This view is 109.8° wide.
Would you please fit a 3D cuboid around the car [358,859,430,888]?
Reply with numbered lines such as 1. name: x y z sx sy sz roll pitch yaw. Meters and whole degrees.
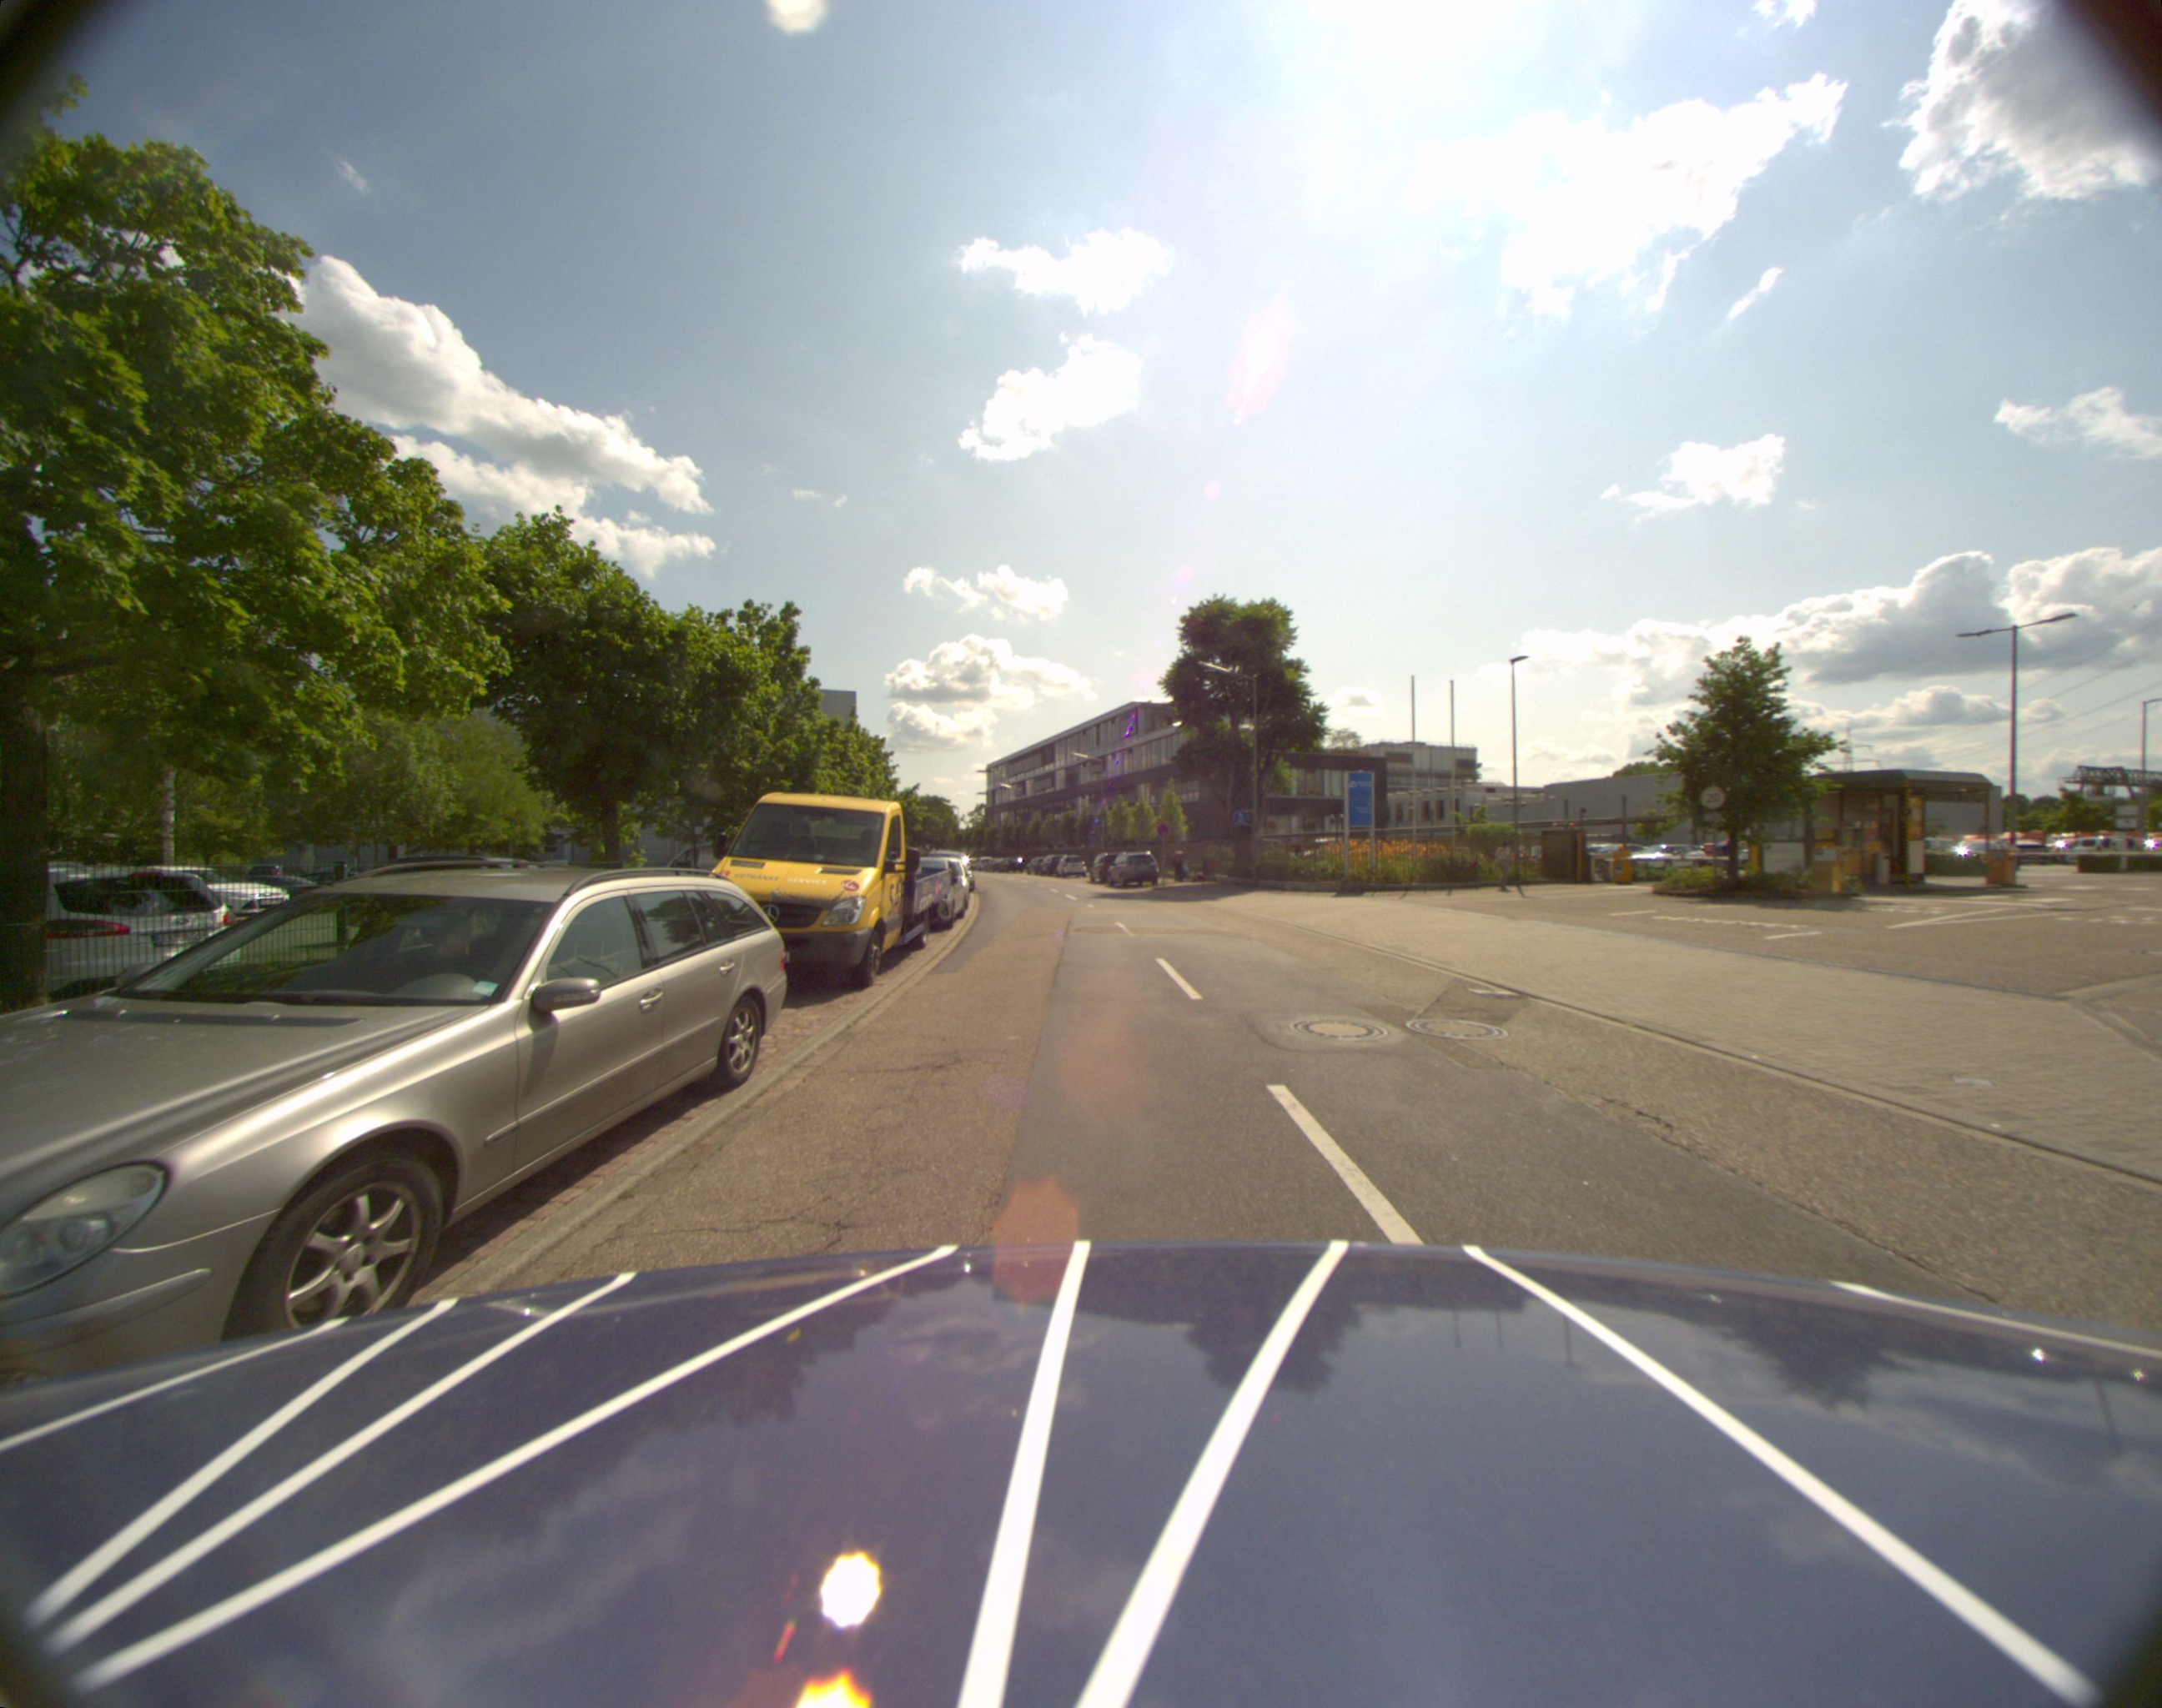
1. car: -41.738 1.140 46.250 1.959 1.539 3.991 -3 2 -23

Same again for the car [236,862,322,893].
1. car: -47.169 1.317 44.797 1.959 1.539 3.991 -3 2 -23

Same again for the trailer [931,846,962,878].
1. trailer: -9.228 0.517 51.984 1.752 2.055 3.942 2 0 -14

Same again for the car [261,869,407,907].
1. car: -31.026 1.401 31.678 4.000 1.366 1.855 -1 1 -8

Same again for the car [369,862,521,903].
1. car: -23.862 1.036 28.660 4.000 1.414 1.802 -1 0 -9

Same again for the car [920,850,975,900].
1. car: -5.095 0.723 29.487 1.856 1.755 5.073 1 0 -8

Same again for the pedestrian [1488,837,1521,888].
1. pedestrian: 14.521 0.284 26.063 0.550 1.683 0.732 -2 4 -22

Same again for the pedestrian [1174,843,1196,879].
1. pedestrian: 5.078 0.341 37.178 0.845 1.682 0.830 -3 1 -4

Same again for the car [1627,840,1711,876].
1. car: 31.521 0.176 40.710 4.077 1.716 1.756 -3 1 -23

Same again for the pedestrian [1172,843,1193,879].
1. pedestrian: 5.103 0.326 38.310 0.830 1.751 0.845 -3 1 -4

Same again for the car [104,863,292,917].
1. car: -30.661 1.220 26.497 4.000 1.656 1.855 -1 1 -8

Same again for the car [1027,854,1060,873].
1. car: -3.146 0.750 63.368 1.740 1.437 3.924 -3 1 -18

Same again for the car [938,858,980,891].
1. car: -5.933 0.944 36.607 1.848 1.452 4.863 1 0 -10

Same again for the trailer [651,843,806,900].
1. trailer: -13.606 0.640 29.623 5.064 2.070 2.059 -1 1 -10

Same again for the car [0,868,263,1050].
1. car: -11.459 0.971 7.587 4.330 1.612 1.762 0 1 -7

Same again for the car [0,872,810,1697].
1. car: -3.195 0.945 3.849 1.880 1.468 5.166 2 1 -1

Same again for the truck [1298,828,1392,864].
1. truck: 20.175 -0.638 58.040 6.942 2.642 2.400 -1 1 -22

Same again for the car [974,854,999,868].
1. car: -10.355 0.745 83.182 1.669 1.473 3.509 -3 1 -24

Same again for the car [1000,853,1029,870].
1. car: -6.443 0.745 73.063 1.668 1.521 3.993 -3 1 -21

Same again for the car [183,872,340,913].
1. car: -30.999 1.433 28.836 4.000 1.366 1.482 -1 1 -8

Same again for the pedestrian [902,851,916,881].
1. pedestrian: -9.689 0.671 42.841 0.723 1.683 0.739 2 0 -12

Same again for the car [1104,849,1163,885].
1. car: 2.576 0.616 38.308 1.805 1.641 4.685 -2 1 -11

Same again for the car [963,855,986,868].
1. car: -12.366 0.832 88.008 1.673 1.396 3.992 -2 1 -23

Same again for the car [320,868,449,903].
1. car: -31.404 1.392 34.372 4.000 1.366 1.717 -1 1 -8

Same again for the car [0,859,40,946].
1. car: -22.477 0.962 13.672 4.492 1.631 1.837 -1 0 -6

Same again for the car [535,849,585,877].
1. car: -33.795 0.538 49.432 1.737 1.671 4.524 -3 1 -23

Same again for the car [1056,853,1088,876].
1. car: -0.654 0.742 53.894 1.614 1.514 3.070 -1 1 -14

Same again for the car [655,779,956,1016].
1. car: -3.402 0.427 11.214 2.163 2.450 6.637 0 1 -1

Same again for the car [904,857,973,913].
1. car: -4.235 0.875 23.135 1.838 1.484 4.652 1 0 -8

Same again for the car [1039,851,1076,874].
1. car: -1.850 0.653 58.348 1.740 1.646 4.304 -2 1 -16

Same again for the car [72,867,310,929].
1. car: -23.057 1.102 19.799 4.170 1.428 1.729 -1 0 1

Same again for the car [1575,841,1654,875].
1. car: 30.107 0.209 42.873 4.077 1.716 1.756 -3 1 -23

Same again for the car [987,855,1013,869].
1. car: -8.360 0.811 78.127 1.668 1.389 4.098 -3 1 -21

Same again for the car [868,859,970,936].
1. car: -3.566 0.897 17.378 1.690 1.486 3.947 0 1 -3

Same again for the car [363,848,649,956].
1. car: -11.941 0.978 16.082 4.340 1.661 1.855 7 0 -8

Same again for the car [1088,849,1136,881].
1. car: 1.740 0.565 43.676 1.781 1.673 4.226 -3 1 -11

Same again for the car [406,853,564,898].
1. car: -25.088 0.879 32.159 4.866 1.757 1.913 -1 1 -9
